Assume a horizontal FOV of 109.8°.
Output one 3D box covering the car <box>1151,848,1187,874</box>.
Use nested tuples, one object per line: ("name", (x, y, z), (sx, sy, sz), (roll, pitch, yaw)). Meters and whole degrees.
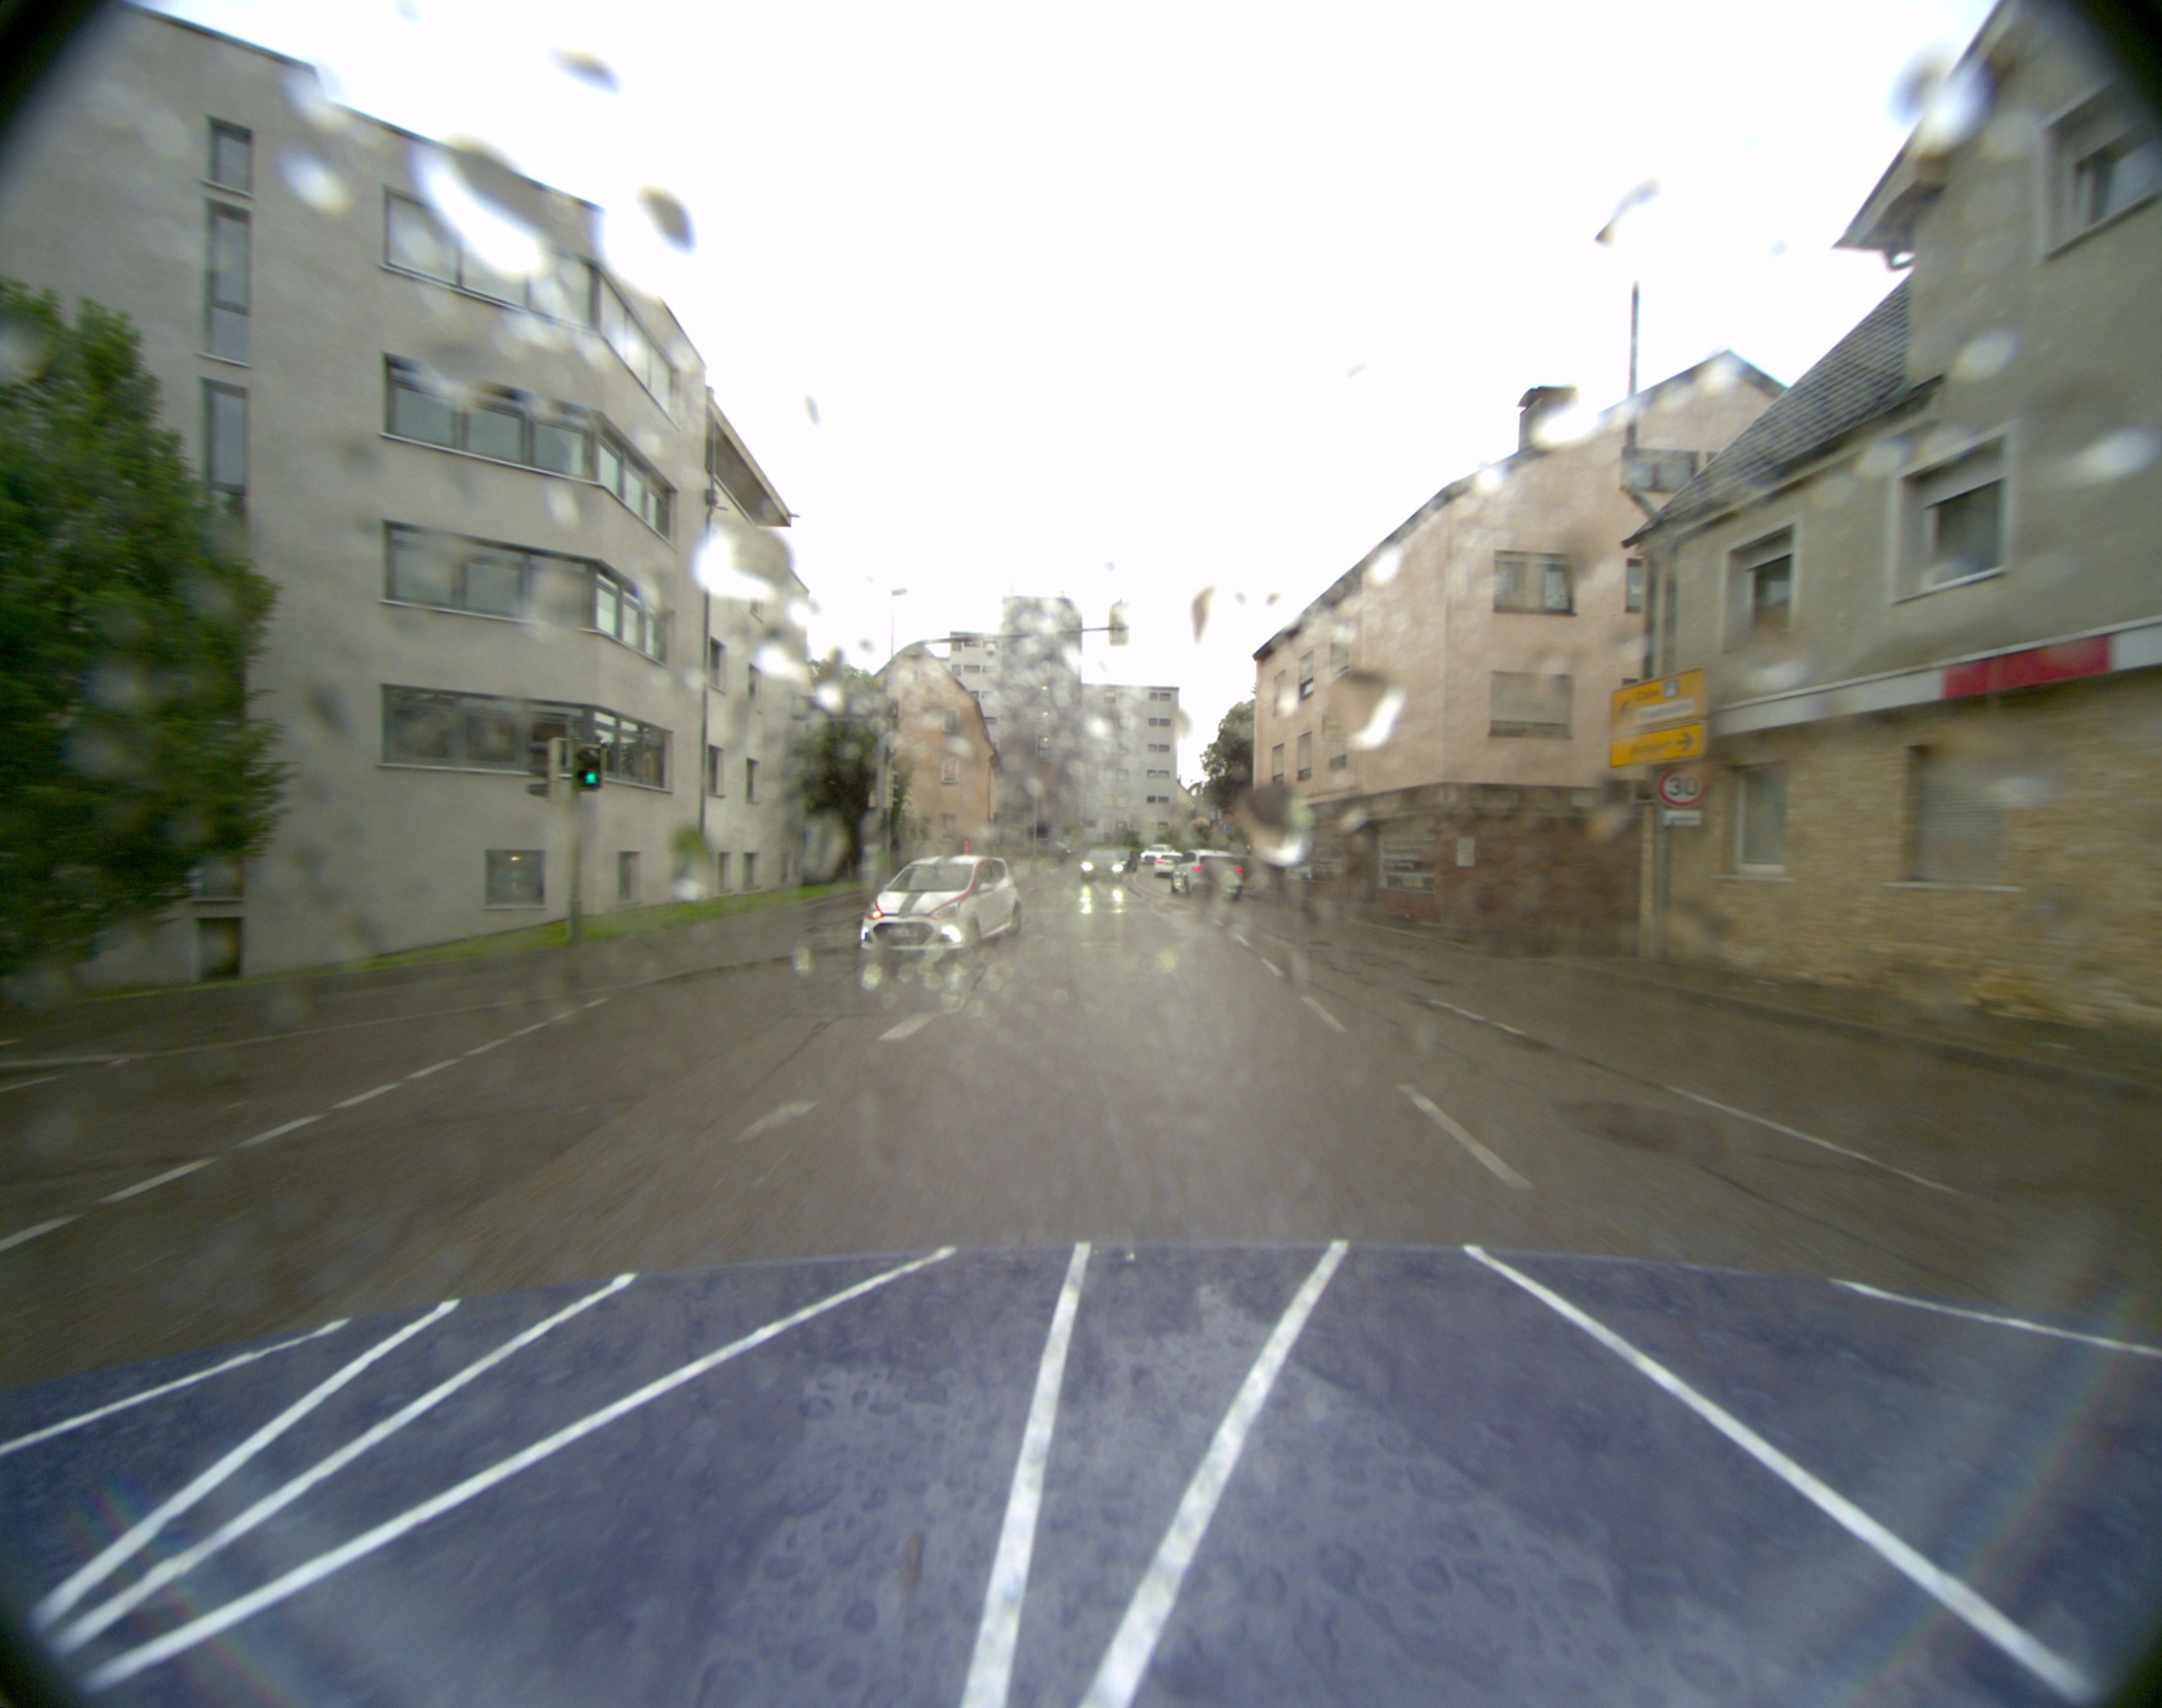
("car", (4.988, 0.399, 43.542), (1.694, 1.365, 4.114), (3, 0, 3))

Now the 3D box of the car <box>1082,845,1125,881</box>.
("car", (1.048, 0.361, 35.470), (1.838, 1.505, 4.847), (1, 1, 2))

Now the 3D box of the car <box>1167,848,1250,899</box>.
("car", (4.325, 0.636, 26.484), (1.790, 1.551, 4.335), (2, 0, -5))

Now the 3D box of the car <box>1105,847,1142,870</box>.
("car", (2.745, 0.230, 48.220), (1.789, 1.339, 4.947), (0, 1, 10))

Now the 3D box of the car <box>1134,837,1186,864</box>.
("car", (6.275, -0.221, 59.672), (1.896, 1.648, 4.958), (4, -2, 33))

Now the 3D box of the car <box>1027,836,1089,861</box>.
("car", (-1.773, -0.423, 58.088), (4.407, 1.564, 1.721), (4, 4, 24))

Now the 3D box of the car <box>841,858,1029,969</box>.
("car", (-2.230, 0.869, 12.725), (1.709, 1.445, 3.766), (-2, 1, 12))
